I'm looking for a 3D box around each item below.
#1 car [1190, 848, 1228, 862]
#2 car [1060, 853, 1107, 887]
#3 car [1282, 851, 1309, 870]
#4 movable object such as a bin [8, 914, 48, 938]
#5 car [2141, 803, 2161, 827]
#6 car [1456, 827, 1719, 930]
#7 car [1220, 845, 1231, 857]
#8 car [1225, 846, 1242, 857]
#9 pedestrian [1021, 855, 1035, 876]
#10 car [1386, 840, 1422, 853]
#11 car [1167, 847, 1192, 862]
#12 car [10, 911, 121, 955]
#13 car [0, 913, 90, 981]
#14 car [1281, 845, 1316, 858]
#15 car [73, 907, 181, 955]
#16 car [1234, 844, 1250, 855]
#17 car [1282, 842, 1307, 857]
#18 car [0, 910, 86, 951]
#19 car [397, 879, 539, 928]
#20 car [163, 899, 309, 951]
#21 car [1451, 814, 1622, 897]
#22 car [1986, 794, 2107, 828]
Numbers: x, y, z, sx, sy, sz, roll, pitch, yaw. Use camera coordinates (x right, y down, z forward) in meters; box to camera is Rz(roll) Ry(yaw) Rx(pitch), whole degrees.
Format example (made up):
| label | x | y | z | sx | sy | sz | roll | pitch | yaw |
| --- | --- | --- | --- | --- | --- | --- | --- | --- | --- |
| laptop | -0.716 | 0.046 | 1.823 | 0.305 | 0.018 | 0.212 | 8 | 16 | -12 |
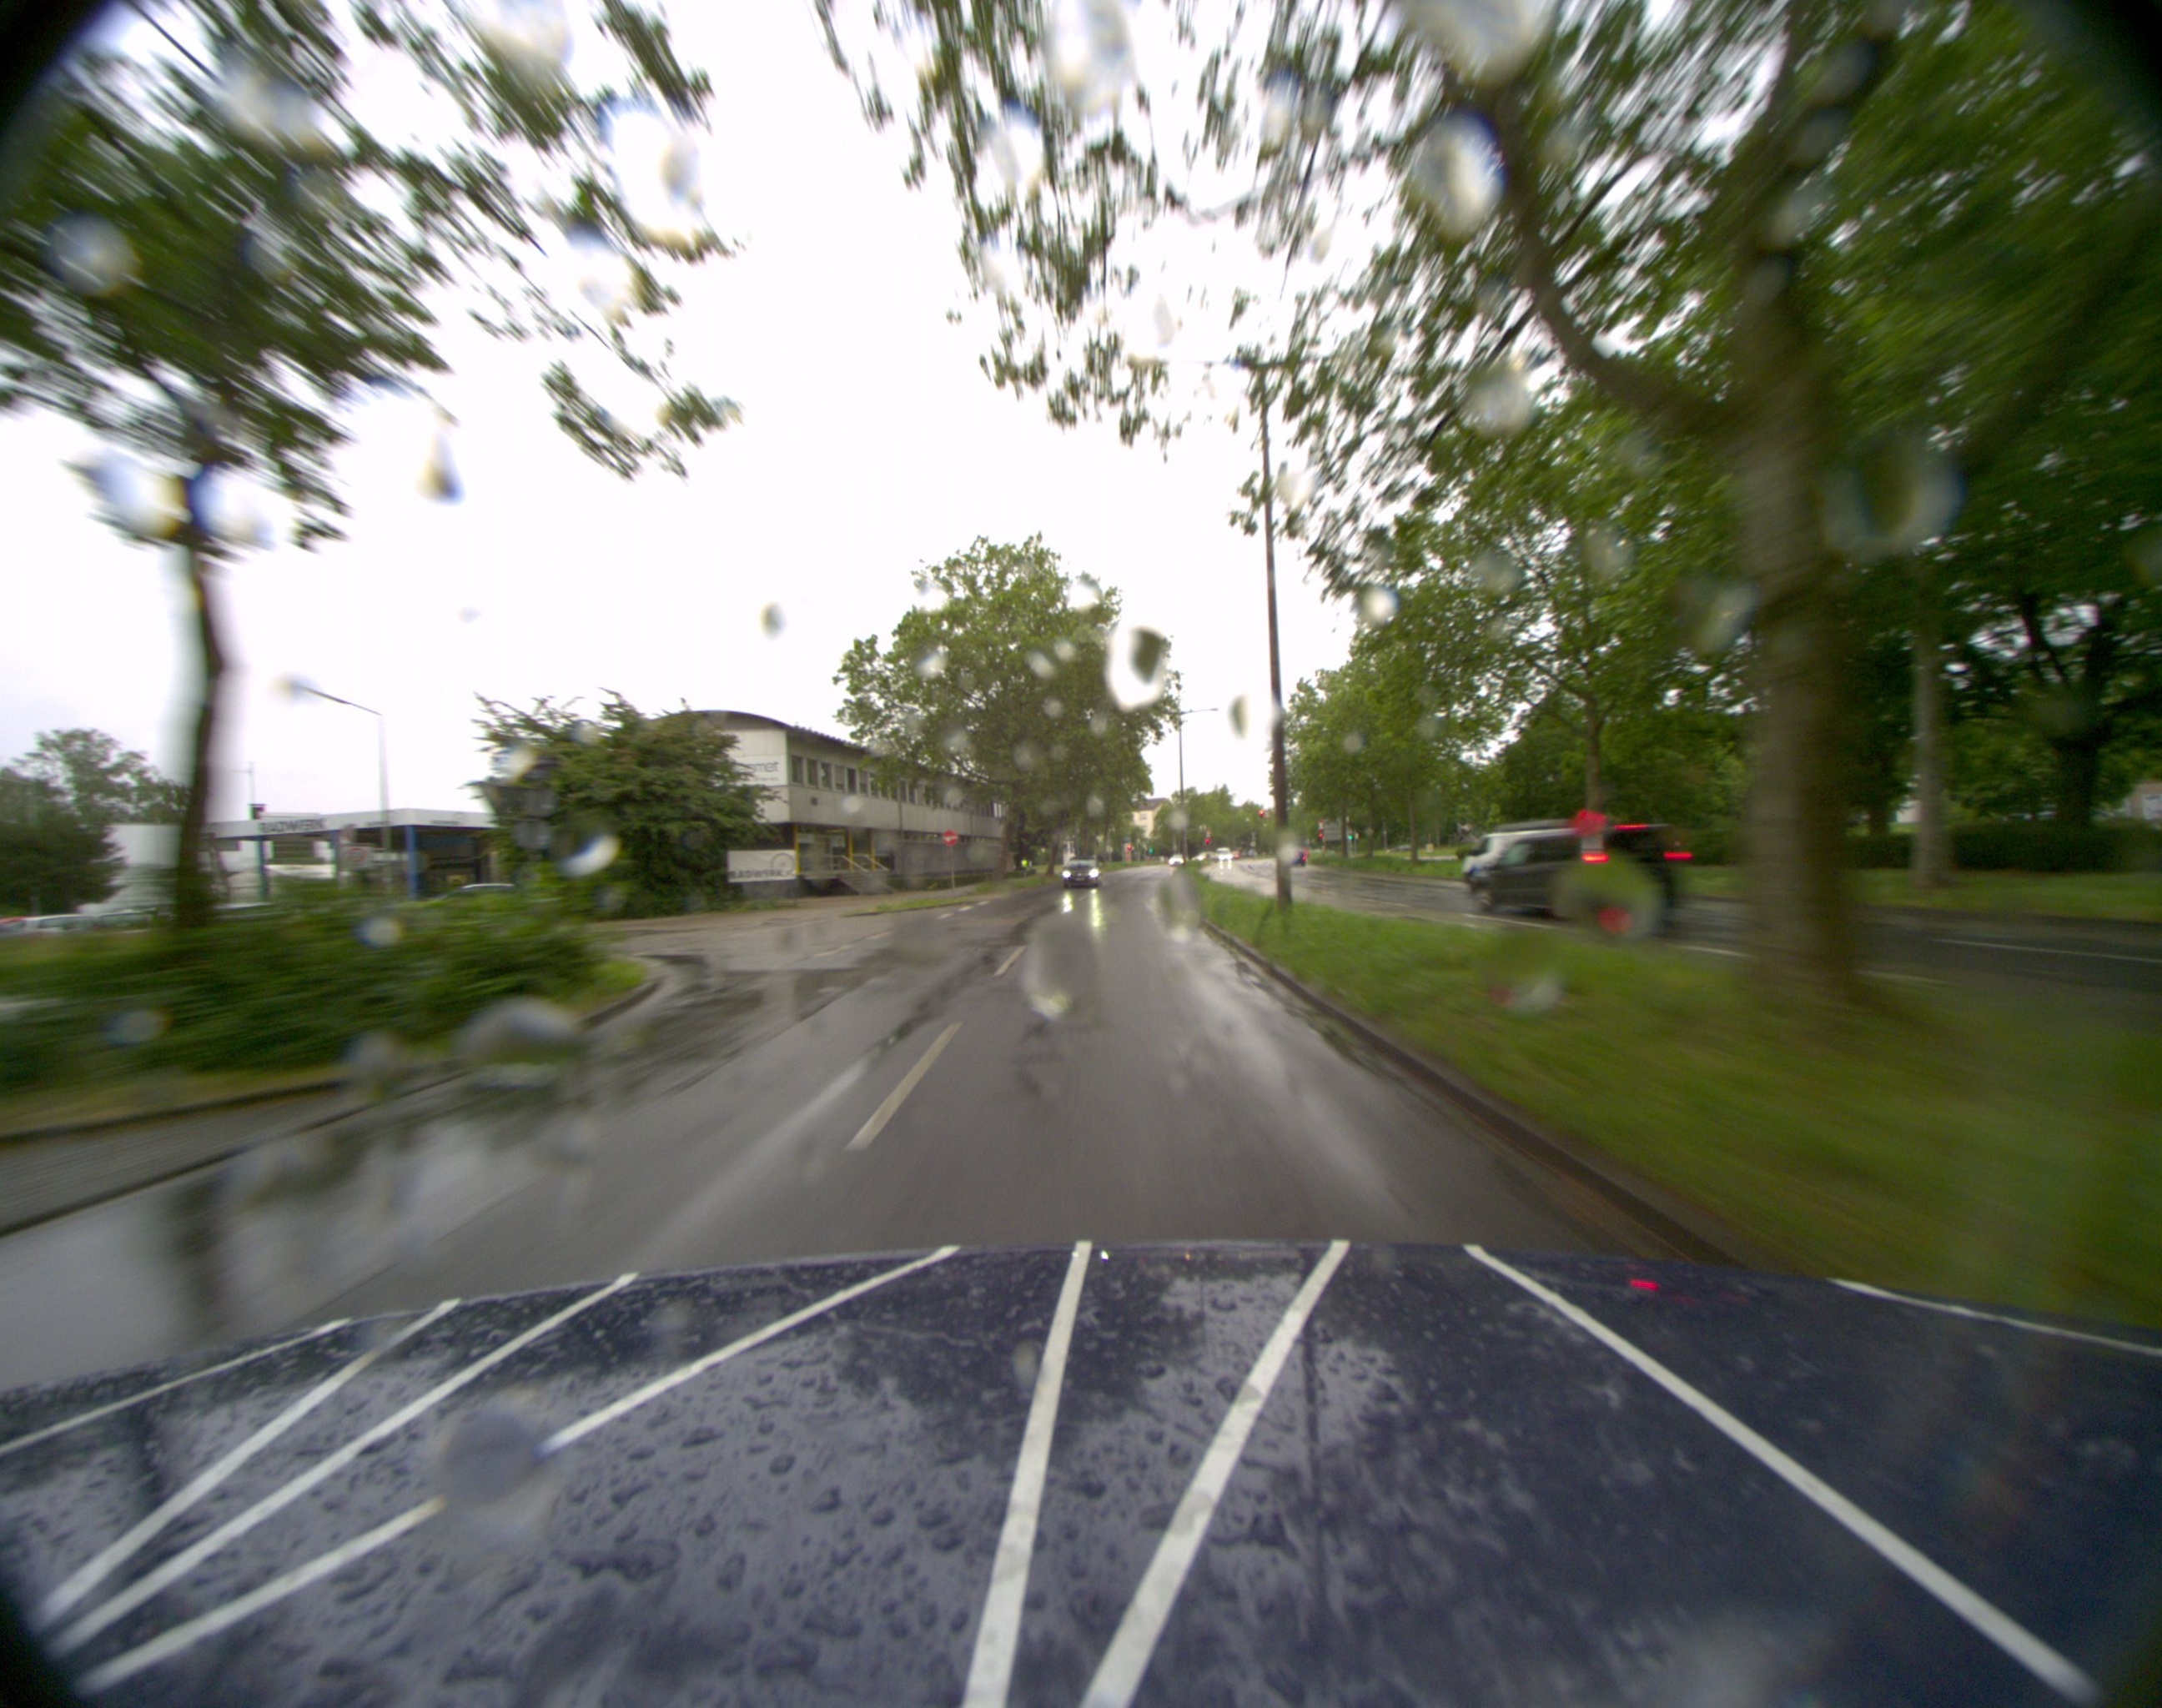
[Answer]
| label | x | y | z | sx | sy | sz | roll | pitch | yaw |
| --- | --- | --- | --- | --- | --- | --- | --- | --- | --- |
| car | 17.182 | 0.189 | 101.981 | 4.508 | 1.620 | 1.996 | -3 | 0 | -24 |
| car | 0.210 | 0.799 | 40.881 | 1.998 | 1.585 | 5.591 | -3 | 0 | 5 |
| car | 20.204 | 0.614 | 71.731 | 1.997 | 1.622 | 4.334 | -3 | 0 | 10 |
| movable object such as a bin | -64.427 | 4.390 | 46.482 | 1.571 | 1.291 | 1.298 | -2 | 0 | 32 |
| car | 70.528 | -2.536 | 48.710 | 1.995 | 1.528 | 4.507 | -2 | 0 | 41 |
| car | 10.046 | 0.428 | 15.711 | 2.035 | 1.726 | 4.954 | -2 | 0 | -1 |
| car | 28.556 | -0.640 | 149.930 | 1.997 | 2.095 | 5.148 | -3 | 0 | 12 |
| car | 26.934 | -0.444 | 134.377 | 1.995 | 1.620 | 4.528 | -3 | 0 | 23 |
| pedestrian | -4.316 | 0.913 | 61.449 | 0.832 | 1.685 | 0.900 | -2 | 1 | 13 |
| car | 45.766 | -1.043 | 107.688 | 4.511 | 1.620 | 2.003 | -3 | 0 | 28 |
| car | 11.693 | 0.044 | 89.619 | 1.996 | 1.620 | 4.527 | -3 | 0 | 19 |
| car | -42.001 | 3.216 | 31.424 | 4.295 | 1.461 | 1.896 | -2 | 4 | 26 |
| car | -26.852 | 2.302 | 17.356 | 1.890 | 1.521 | 4.736 | -2 | 0 | 18 |
| car | 31.539 | -0.415 | 110.251 | 4.511 | 1.620 | 2.003 | -3 | 0 | 28 |
| car | -37.408 | 2.960 | 29.782 | 4.294 | 1.461 | 1.896 | -2 | 4 | 30 |
| car | 29.819 | -0.808 | 140.481 | 1.995 | 1.876 | 4.528 | -3 | 0 | 22 |
| car | 22.271 | -0.489 | 79.469 | 1.997 | 1.366 | 4.334 | -3 | 0 | 10 |
| car | -46.637 | 3.355 | 33.813 | 4.295 | 1.461 | 1.896 | -2 | 4 | 25 |
| car | -25.940 | 2.049 | 32.292 | 1.888 | 1.522 | 4.183 | -1 | 4 | 34 |
| car | -30.381 | 2.552 | 27.330 | 4.296 | 1.522 | 1.895 | -2 | 3 | 20 |
| car | 13.888 | 0.048 | 23.665 | 2.035 | 2.213 | 5.434 | -2 | 0 | 0 |
| car | 73.269 | -3.202 | 57.823 | 5.401 | 2.161 | 2.004 | -3 | 1 | 43 |
